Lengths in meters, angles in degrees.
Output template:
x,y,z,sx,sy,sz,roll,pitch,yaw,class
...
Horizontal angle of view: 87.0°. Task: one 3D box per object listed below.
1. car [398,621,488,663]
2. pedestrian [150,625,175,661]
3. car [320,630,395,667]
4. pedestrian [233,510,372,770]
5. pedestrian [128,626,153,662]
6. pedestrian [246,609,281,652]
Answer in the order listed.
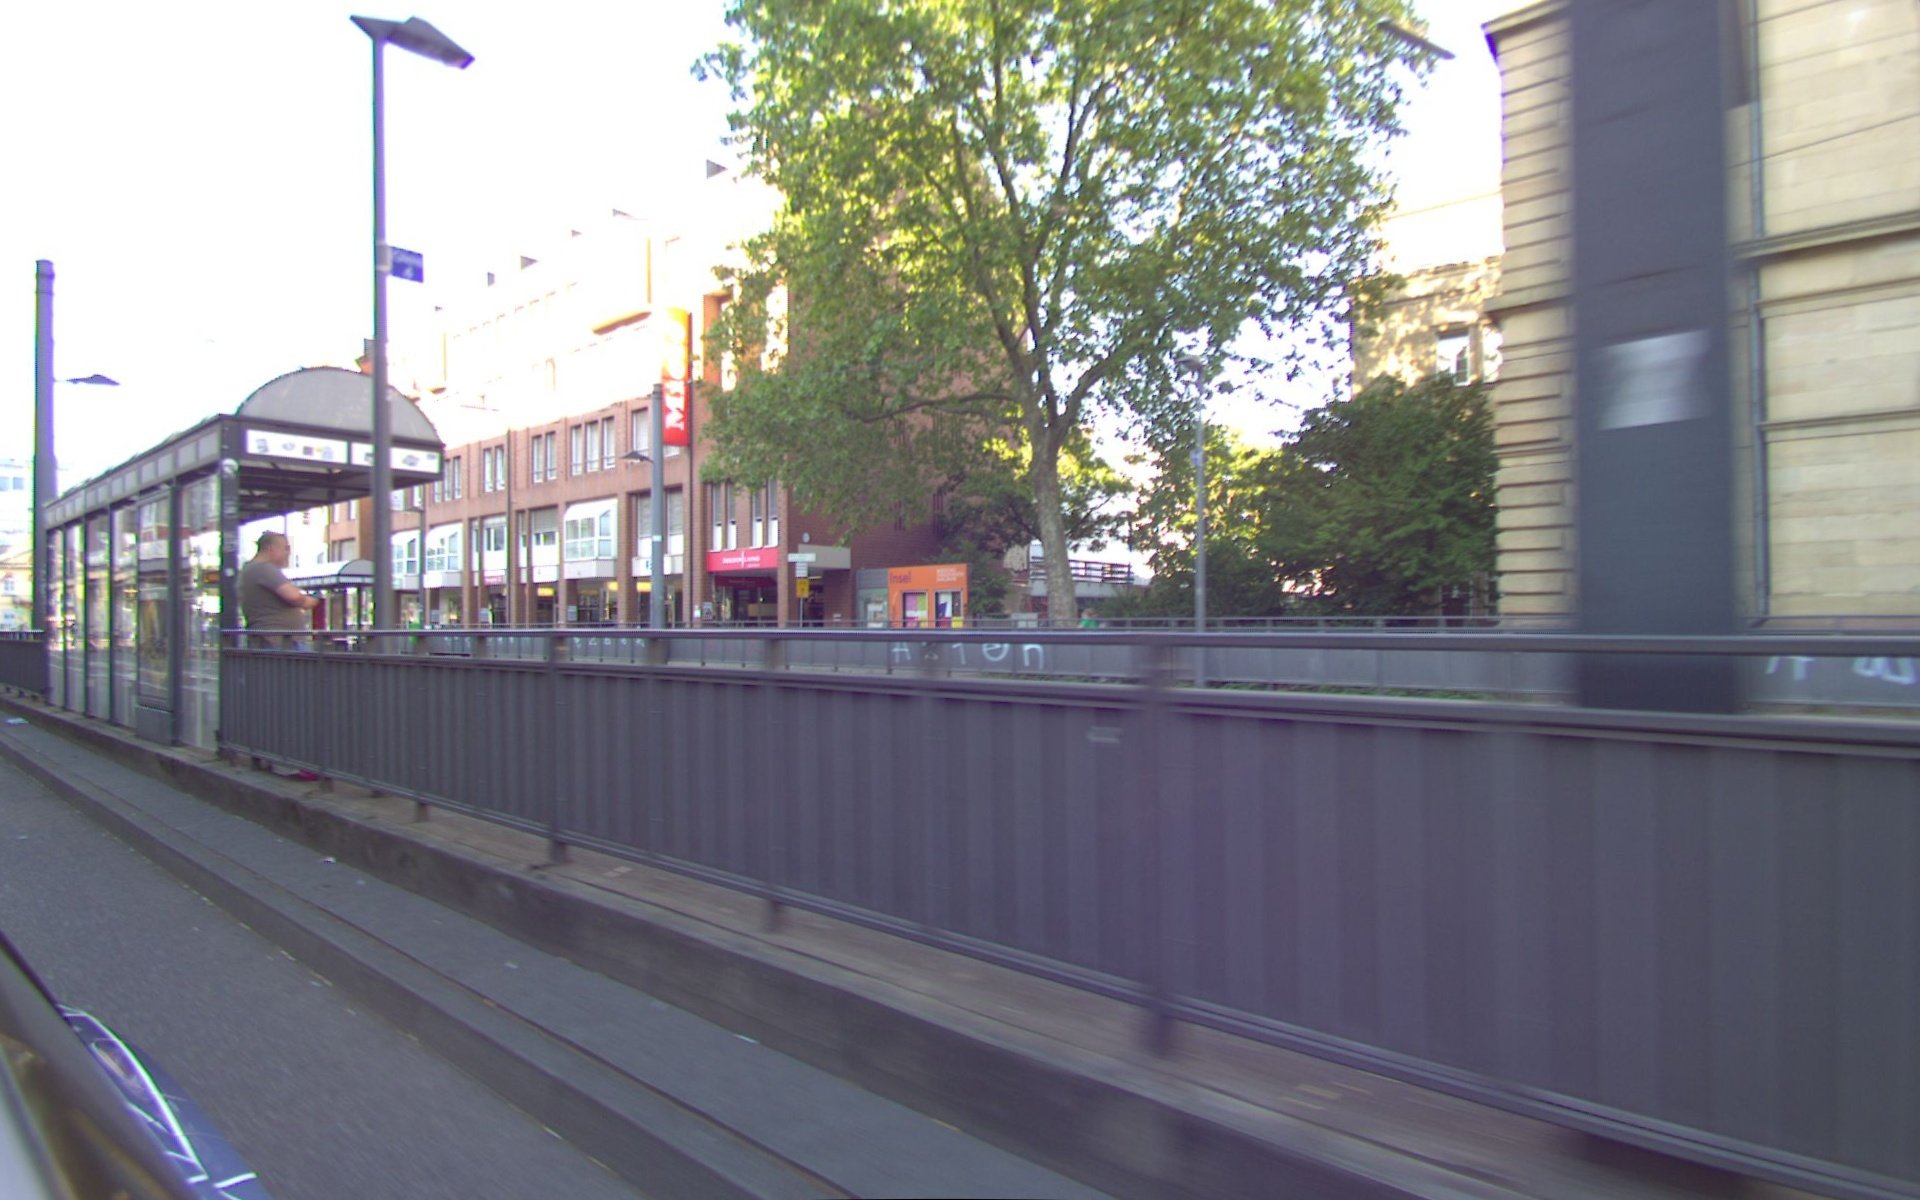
x,y,z,sx,sy,sz,roll,pitch,yaw,class
-21.696,1.719,42.410,4.289,1.606,1.889,0,-1,42,car
-40.757,2.177,51.730,0.811,1.780,0.849,-1,1,43,pedestrian
-29.537,2.324,49.557,4.289,1.606,1.889,0,-1,42,car
-4.709,0.273,7.242,0.849,1.725,0.616,-2,-1,40,pedestrian
-41.319,2.212,51.023,0.811,1.780,0.849,-1,1,43,pedestrian
-27.160,1.180,39.456,0.967,1.674,0.902,-1,-1,40,pedestrian
